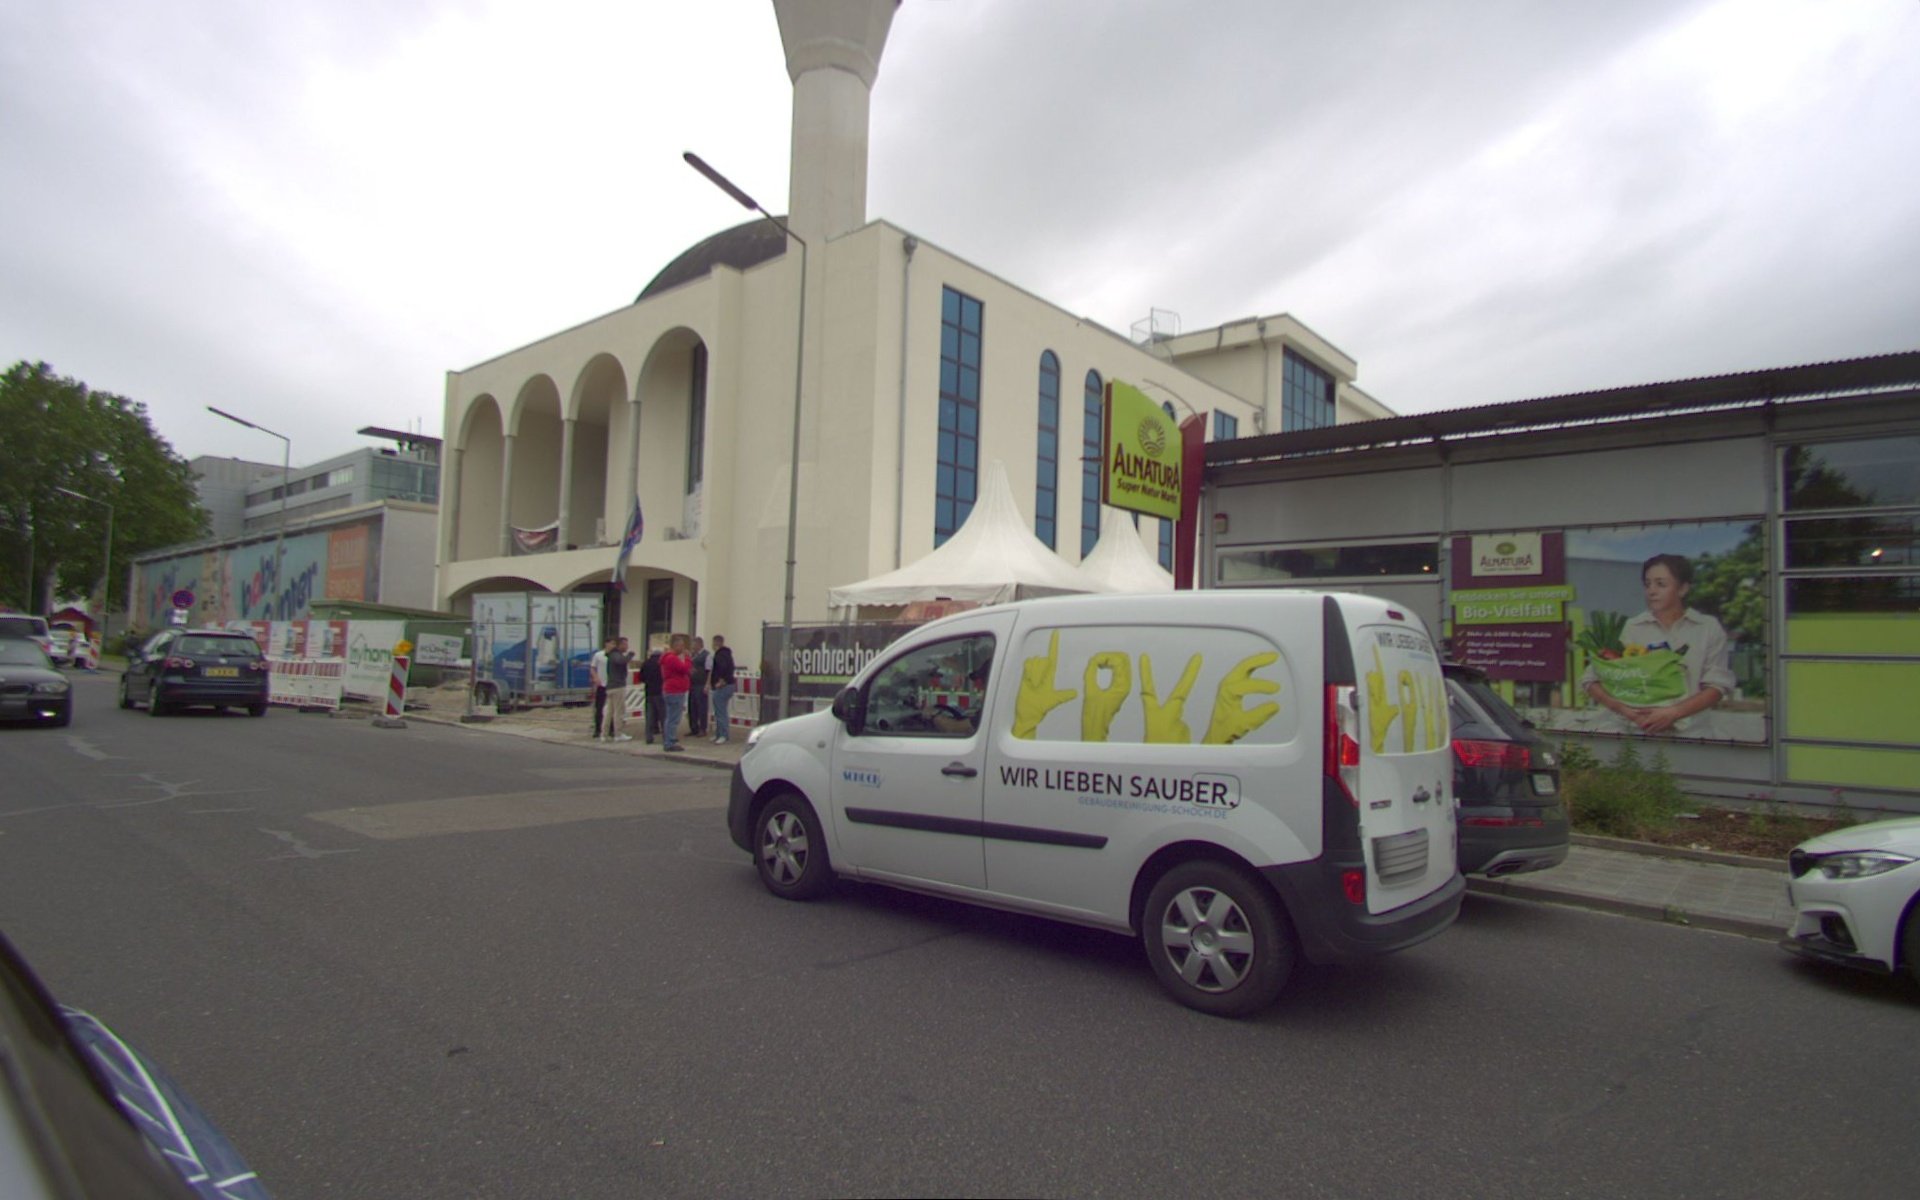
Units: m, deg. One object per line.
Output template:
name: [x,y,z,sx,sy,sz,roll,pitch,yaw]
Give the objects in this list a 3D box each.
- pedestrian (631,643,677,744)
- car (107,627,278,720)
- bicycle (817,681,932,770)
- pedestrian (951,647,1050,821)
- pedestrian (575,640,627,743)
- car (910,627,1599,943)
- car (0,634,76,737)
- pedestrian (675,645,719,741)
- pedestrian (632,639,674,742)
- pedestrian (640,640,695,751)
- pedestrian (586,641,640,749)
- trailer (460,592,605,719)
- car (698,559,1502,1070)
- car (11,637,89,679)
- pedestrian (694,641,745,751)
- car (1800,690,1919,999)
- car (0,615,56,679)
pedestrian: [-5.063,1.539,16.787,0.563,1.624,0.491,2,-4,-4]
car: [-14.557,1.359,19.135,3.944,1.584,1.711,-1,-6,41]
bicycle: [-1.243,1.747,14.371,0.537,1.086,1.903,4,-4,-43]
pedestrian: [0.401,1.328,10.128,0.664,1.634,0.655,7,-7,-24]
pedestrian: [-6.336,1.613,17.876,0.681,1.763,0.491,2,-4,-4]
car: [1.986,1.158,7.785,4.727,1.704,1.846,-2,-8,42]
car: [-14.957,1.231,15.395,4.136,1.369,1.727,-1,-3,42]
pedestrian: [-4.582,1.610,17.645,0.532,1.624,0.491,3,-3,-43]
pedestrian: [-5.380,1.581,17.749,0.520,1.763,0.491,2,-4,-4]
pedestrian: [-4.458,1.450,15.456,0.535,1.624,0.489,2,-5,13]
pedestrian: [-5.855,1.597,17.118,0.681,1.763,0.491,2,-4,-4]
trailer: [-9.609,1.239,22.682,3.192,2.627,1.778,-2,-5,44]
car: [0.488,0.840,5.567,4.133,1.774,1.671,-2,-5,42]
car: [-38.971,2.473,43.297,4.148,1.586,1.904,-2,-8,42]
pedestrian: [-3.914,1.548,16.487,0.685,1.731,0.688,-2,-3,-5]
car: [6.337,1.216,4.075,4.515,1.378,1.681,-1,-9,41]
car: [-32.500,1.541,34.464,4.954,2.029,1.906,-1,-4,42]
